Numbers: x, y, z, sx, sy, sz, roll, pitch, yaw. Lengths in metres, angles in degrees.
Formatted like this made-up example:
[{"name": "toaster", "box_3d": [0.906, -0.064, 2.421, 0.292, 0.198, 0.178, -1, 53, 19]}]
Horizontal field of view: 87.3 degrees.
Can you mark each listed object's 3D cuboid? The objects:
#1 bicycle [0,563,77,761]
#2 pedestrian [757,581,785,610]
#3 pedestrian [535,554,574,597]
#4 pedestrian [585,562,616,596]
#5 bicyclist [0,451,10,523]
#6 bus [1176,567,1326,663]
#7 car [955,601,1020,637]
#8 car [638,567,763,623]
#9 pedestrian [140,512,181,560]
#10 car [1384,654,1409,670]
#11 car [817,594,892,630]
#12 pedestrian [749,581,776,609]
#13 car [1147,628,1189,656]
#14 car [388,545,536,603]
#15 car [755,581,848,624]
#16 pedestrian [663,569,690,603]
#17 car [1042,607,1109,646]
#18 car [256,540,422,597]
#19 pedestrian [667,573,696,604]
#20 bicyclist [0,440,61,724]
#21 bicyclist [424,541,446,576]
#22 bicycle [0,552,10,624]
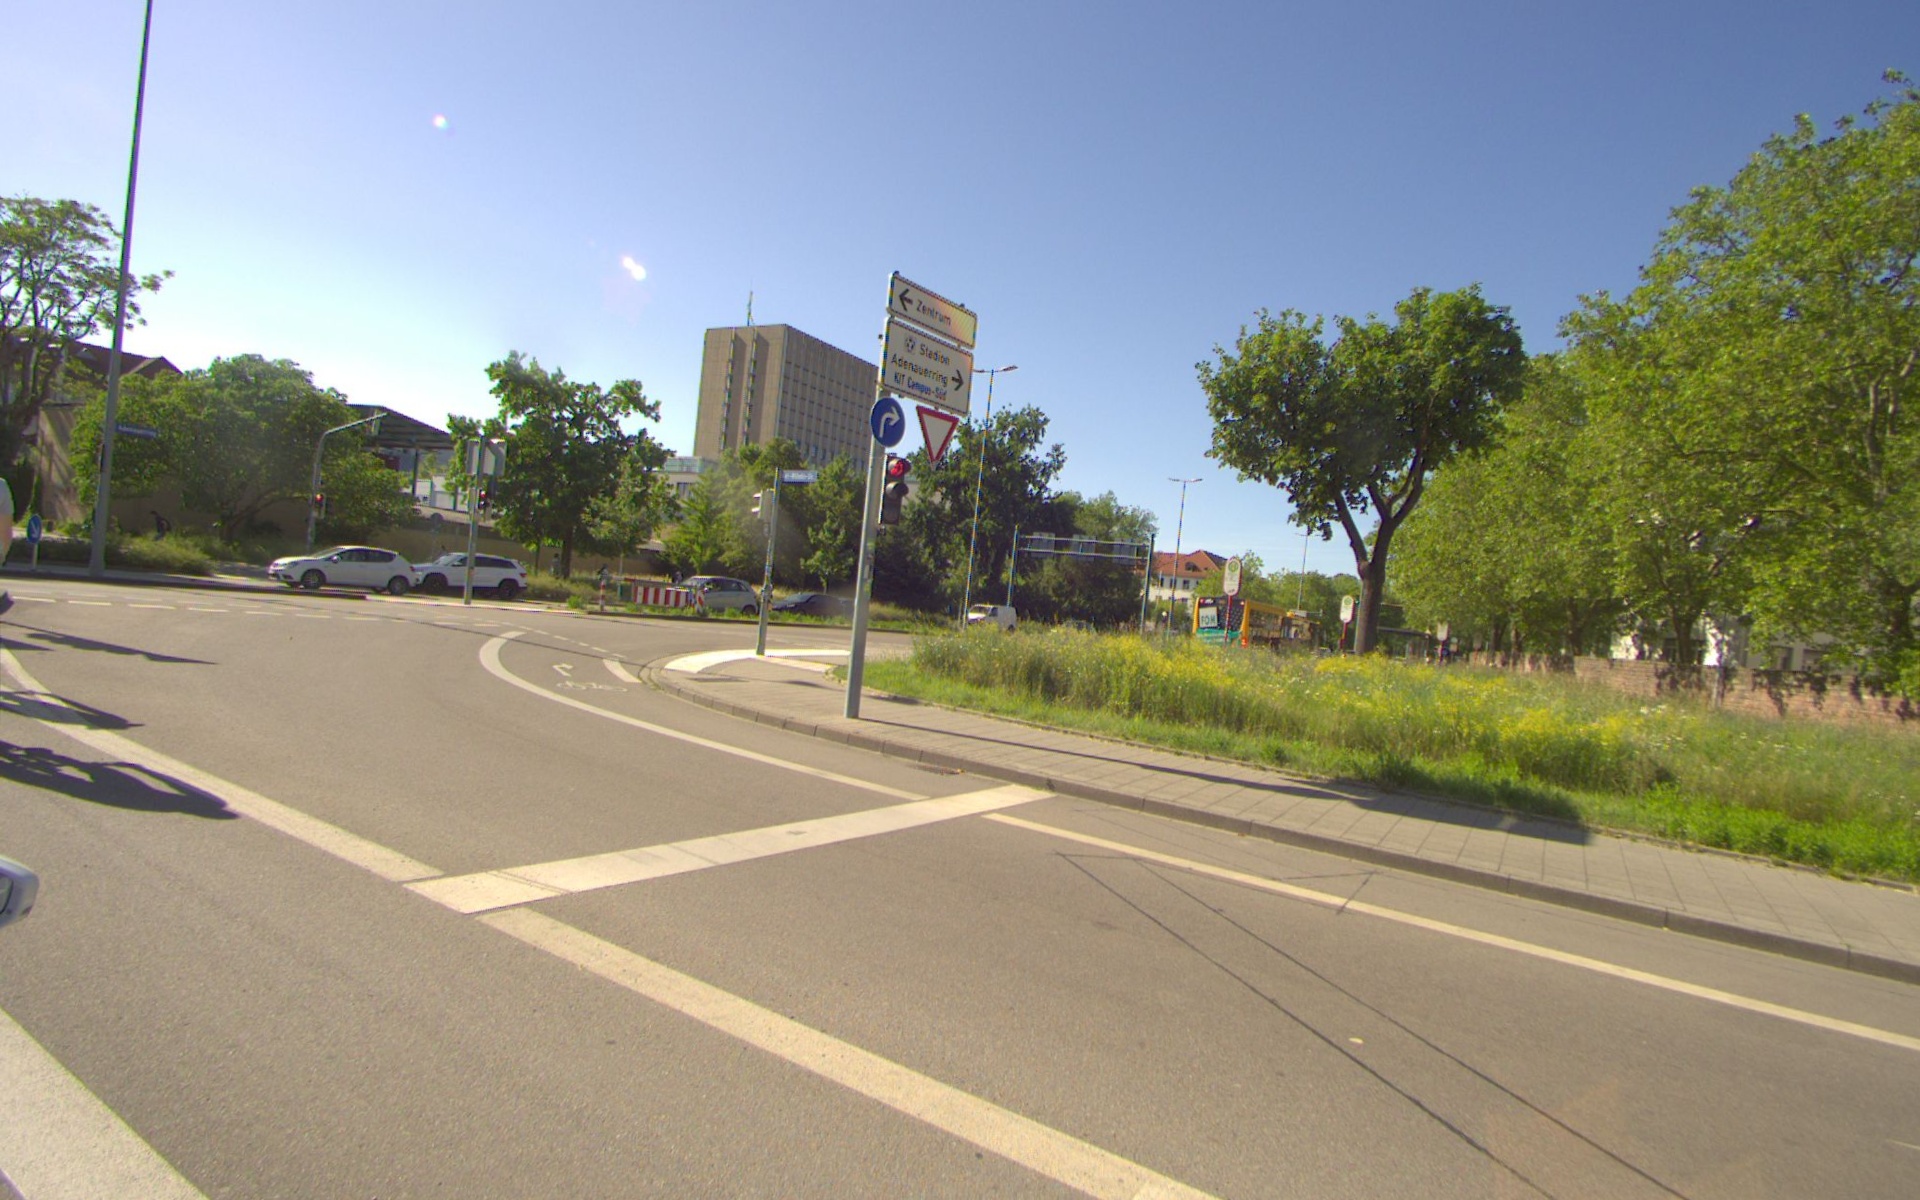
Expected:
[{"name": "bicycle", "box_3d": [-6.279, 0.296, 6.132, 1.871, 1.064, 0.748, 6, 1, 31]}, {"name": "pedestrian", "box_3d": [-11.248, -0.257, 59.994, 0.975, 1.540, 1.129, 7, 1, 35]}, {"name": "pedestrian", "box_3d": [-19.560, -1.190, 48.531, 0.953, 1.879, 1.294, 7, 1, 43]}, {"name": "pedestrian", "box_3d": [-18.250, -1.068, 51.076, 0.917, 1.540, 1.083, 7, 1, 41]}, {"name": "bicyclist", "box_3d": [-8.184, -0.449, 7.874, 1.063, 1.601, 0.675, 7, -1, 31]}, {"name": "bus", "box_3d": [14.510, 0.946, 49.021, 3.197, 3.614, 12.432, 8, 0, 33]}, {"name": "car", "box_3d": [1.899, 1.320, 68.113, 1.968, 1.966, 4.834, 7, 0, 35]}, {"name": "car", "box_3d": [-9.555, -0.148, 37.335, 1.882, 1.625, 4.124, 7, 0, 37]}, {"name": "pedestrian", "box_3d": [-29.359, -2.361, 36.944, 0.979, 1.625, 0.816, 6, 1, -45]}, {"name": "car", "box_3d": [45.030, 6.382, 103.705, 1.731, 1.390, 3.991, 7, 0, 32]}, {"name": "car", "box_3d": [-5.894, 0.699, 56.531, 1.892, 1.625, 4.072, 7, 0, 35]}, {"name": "pedestrian", "box_3d": [-11.873, -0.320, 60.447, 0.865, 1.540, 1.144, 7, 1, 35]}, {"name": "car", "box_3d": [17.887, 3.629, 86.205, 1.966, 2.062, 4.840, 7, 0, 29]}, {"name": "car", "box_3d": [-18.729, -0.945, 37.996, 1.970, 1.625, 4.501, 7, 0, 37]}, {"name": "car", "box_3d": [-7.556, 0.151, 48.265, 1.968, 1.625, 4.127, 7, 0, 35]}, {"name": "pedestrian", "box_3d": [-15.572, -0.766, 55.334, 0.959, 1.754, 0.914, 6, 1, -43]}, {"name": "car", "box_3d": [7.482, 1.757, 64.648, 1.969, 2.062, 4.832, 7, 0, 36]}, {"name": "car", "box_3d": [-19.594, -0.978, 31.883, 1.971, 1.378, 3.992, 5, -1, 38]}, {"name": "pedestrian", "box_3d": [-15.027, -0.632, 54.287, 0.865, 1.540, 1.074, 7, 1, 36]}, {"name": "bicyclist", "box_3d": [-6.153, -0.148, 6.079, 0.851, 1.695, 0.741, 7, 1, 30]}, {"name": "bicyclist", "box_3d": [-22.187, -1.748, 42.518, 0.568, 1.385, 0.520, 7, 1, 42]}, {"name": "bicycle", "box_3d": [-8.321, 0.052, 7.910, 1.813, 1.063, 0.672, 6, -1, 31]}]
